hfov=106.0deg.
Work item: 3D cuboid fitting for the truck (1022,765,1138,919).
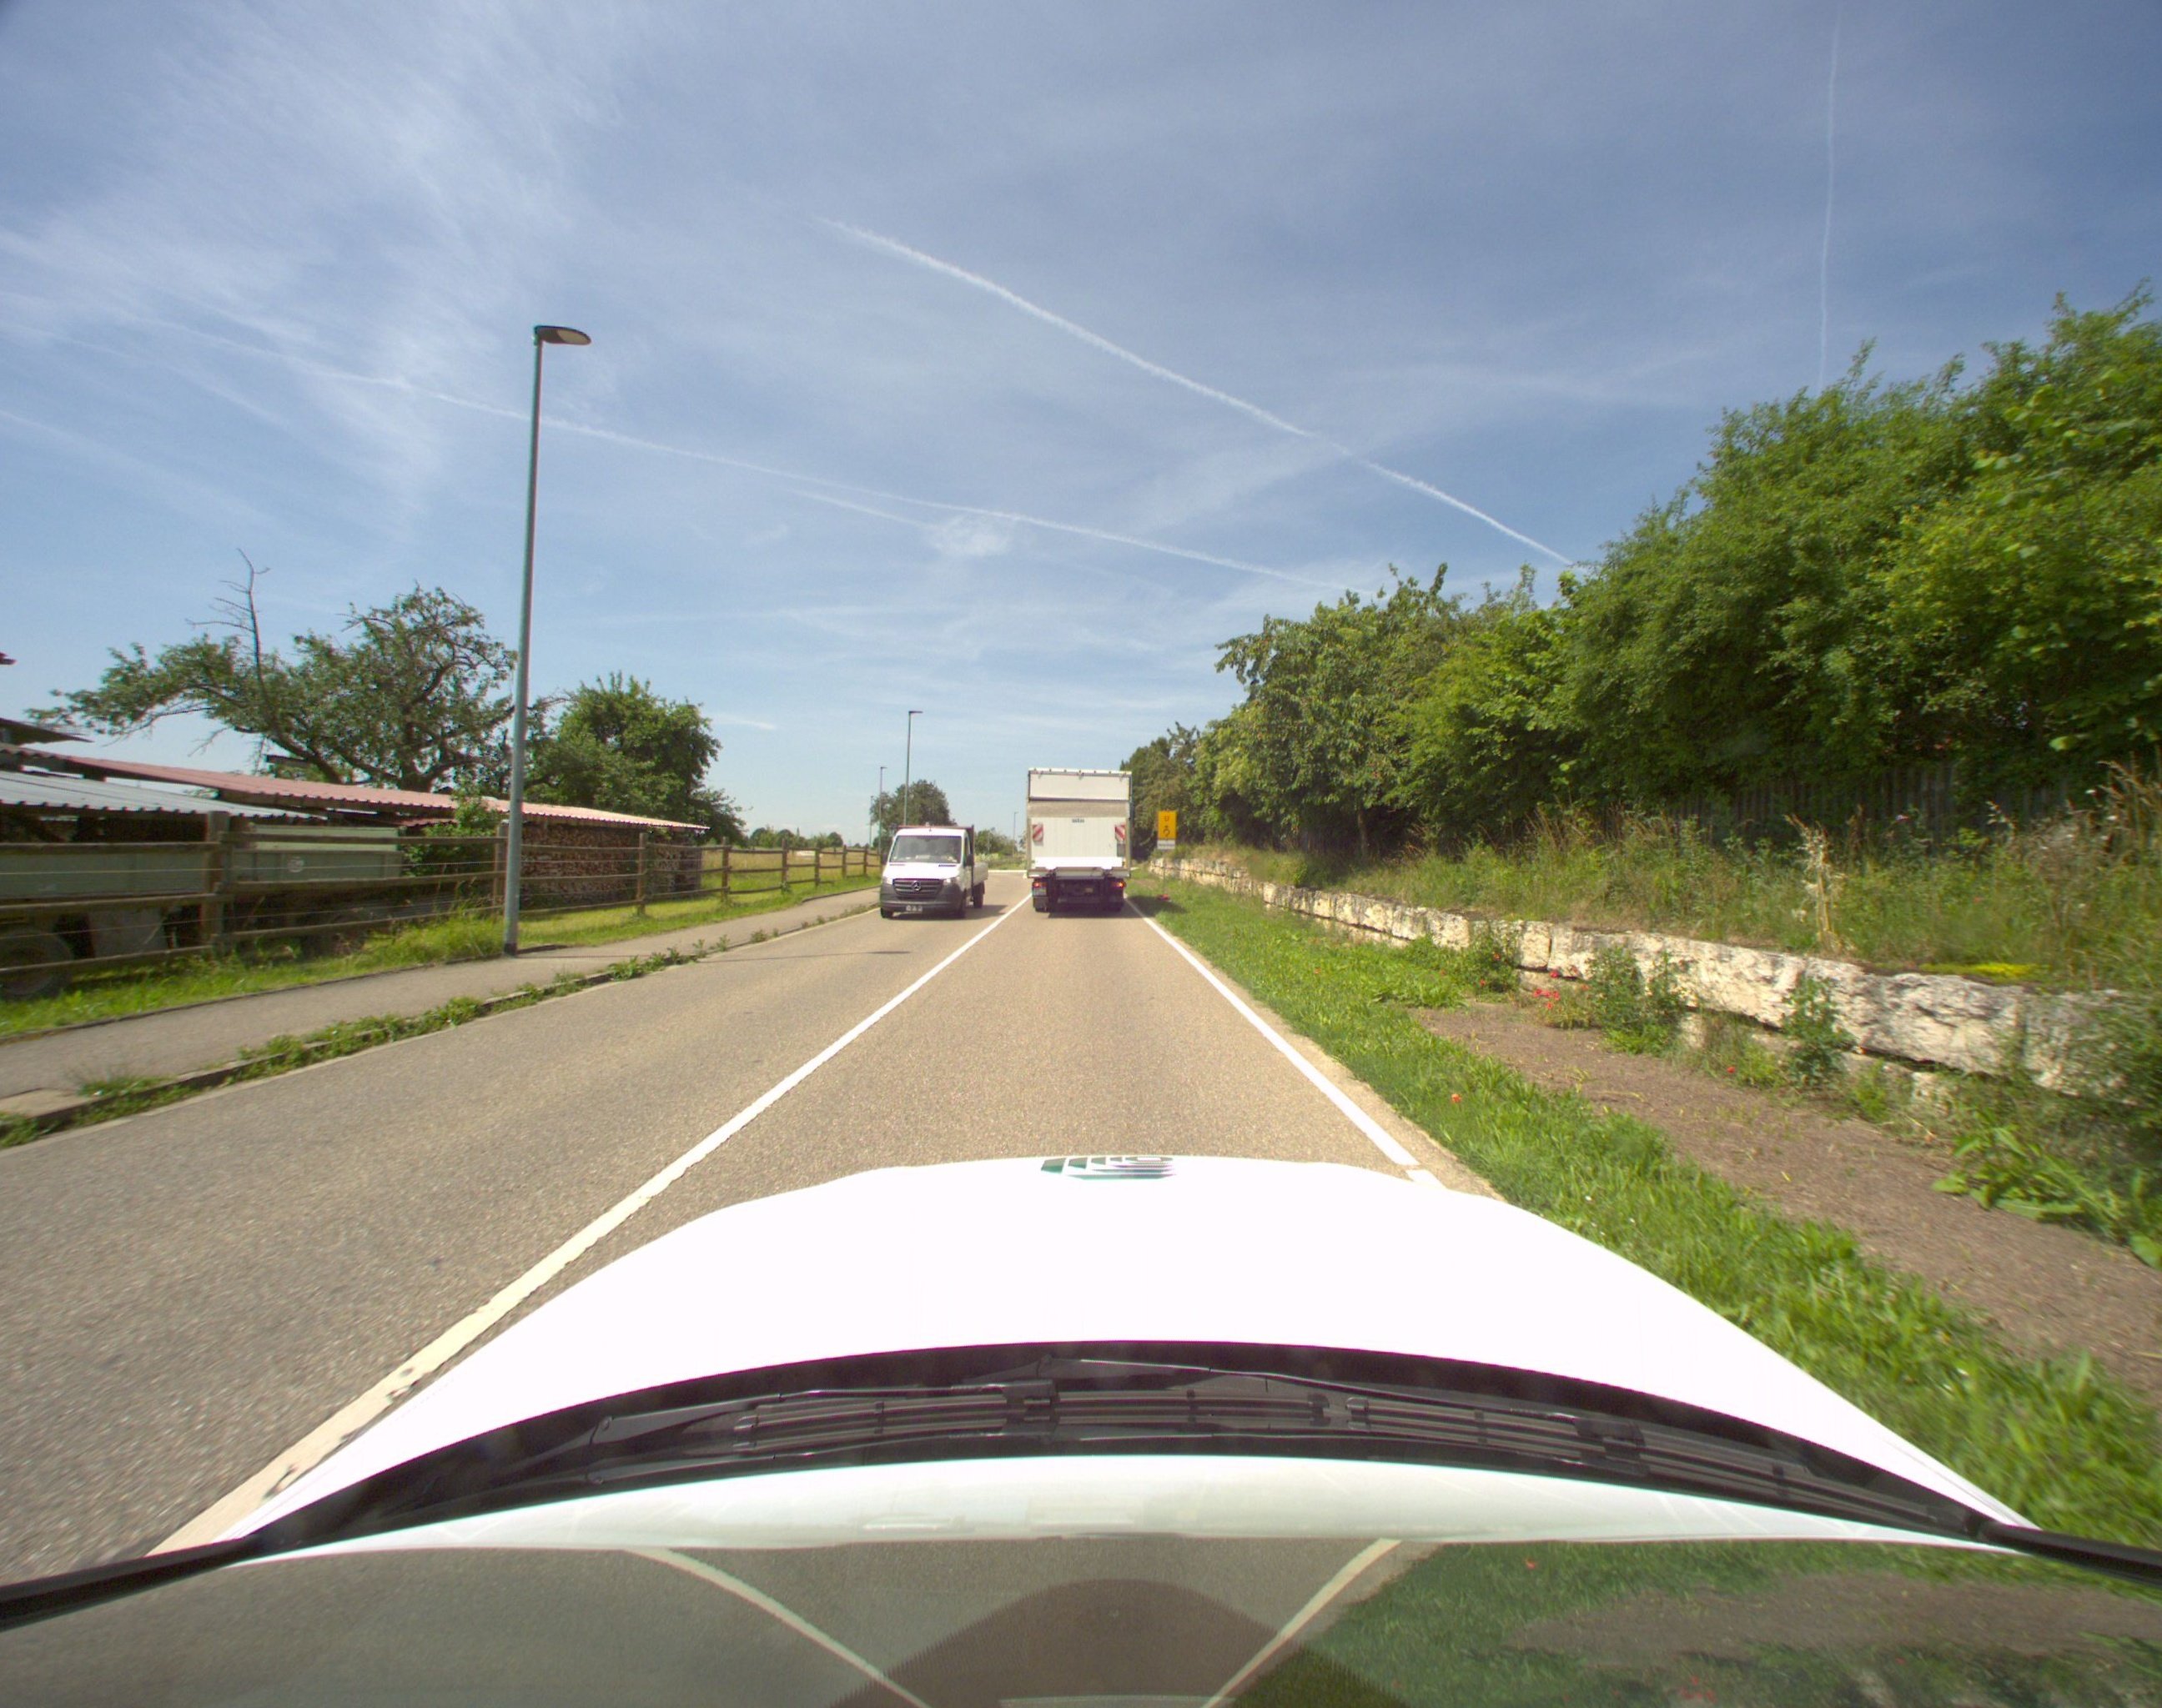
[{"bbox_3d":[-0.147,-0.299,24.165,2.759,3.671,9.376,0,0,-2],"label":"truck"}]

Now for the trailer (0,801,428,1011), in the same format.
[{"bbox_3d":[-9.859,0.427,8.419,2.148,1.703,5.028,0,0,0],"label":"trailer"}]

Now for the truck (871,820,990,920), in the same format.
[{"bbox_3d":[-3.843,0.385,22.083,2.217,2.293,6.486,0,0,-2],"label":"truck"}]
